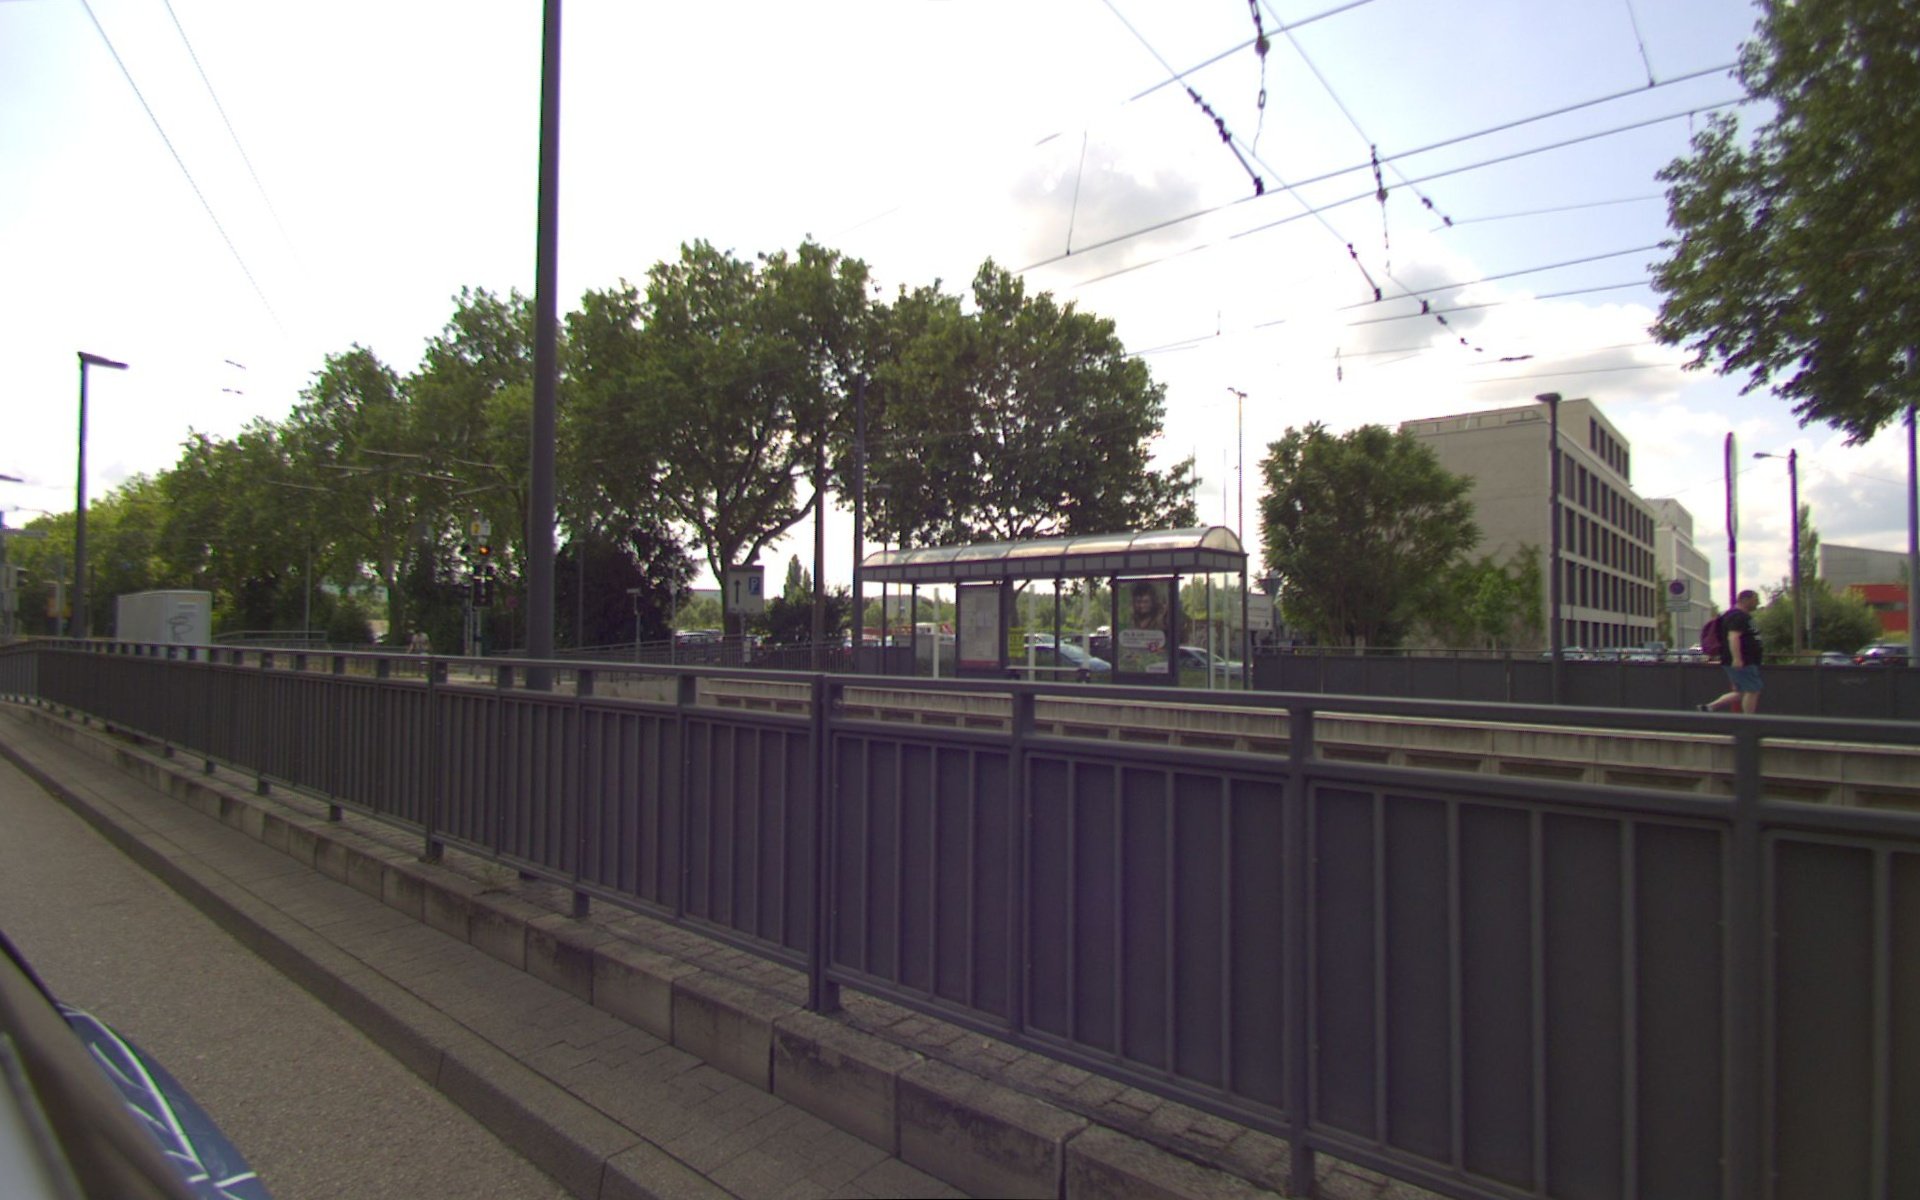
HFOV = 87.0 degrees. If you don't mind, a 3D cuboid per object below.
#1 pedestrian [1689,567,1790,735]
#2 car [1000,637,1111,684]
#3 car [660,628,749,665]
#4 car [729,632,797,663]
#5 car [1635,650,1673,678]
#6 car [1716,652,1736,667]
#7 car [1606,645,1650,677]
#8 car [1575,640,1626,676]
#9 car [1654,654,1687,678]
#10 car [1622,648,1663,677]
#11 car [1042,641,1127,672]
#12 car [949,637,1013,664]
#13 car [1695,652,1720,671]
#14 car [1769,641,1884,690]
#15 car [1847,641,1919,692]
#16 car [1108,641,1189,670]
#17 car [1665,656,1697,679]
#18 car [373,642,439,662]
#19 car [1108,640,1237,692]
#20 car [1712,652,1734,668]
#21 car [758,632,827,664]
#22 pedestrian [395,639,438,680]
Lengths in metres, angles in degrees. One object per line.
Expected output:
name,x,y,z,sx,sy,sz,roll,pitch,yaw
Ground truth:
pedestrian,9.031,0.580,11.723,0.864,1.859,0.699,-2,-3,40
car,3.315,2.109,35.509,3.654,1.546,1.671,-3,-4,44
car,-13.391,2.461,53.222,1.999,1.845,4.053,-1,-5,42
car,-13.019,3.155,67.071,1.998,1.913,4.057,-1,-4,39
car,48.638,4.495,70.860,1.759,1.828,3.990,-1,-5,41
car,96.766,7.512,127.893,1.759,1.828,3.990,-1,-5,41
car,40.925,3.756,61.983,1.759,1.828,3.990,-1,-5,41
car,34.605,3.146,54.638,1.759,1.828,3.990,-1,-5,41
car,56.319,5.260,80.198,1.759,1.828,3.990,-1,-5,41
car,44.869,4.131,66.474,1.759,1.828,3.990,-1,-5,41
car,6.324,2.862,51.462,3.997,1.487,1.779,-2,-4,41
car,1.295,3.040,61.194,1.777,1.438,3.945,-2,0,42
car,77.054,6.367,104.316,1.759,1.828,3.990,-1,-5,41
car,38.341,2.901,44.786,4.362,2.029,2.006,3,-4,-21
car,39.553,2.783,42.190,4.362,2.029,2.006,3,-4,-21
car,10.612,3.114,57.131,4.104,1.494,1.860,-1,-4,41
car,60.036,5.604,84.257,1.759,1.828,3.990,-1,-5,41
car,-41.758,3.888,76.352,1.999,1.453,3.945,-2,-3,41
car,6.669,2.069,31.971,3.654,1.546,1.671,-3,-4,44
car,91.405,7.200,121.207,1.759,1.828,3.990,-1,-5,41
car,-10.736,3.113,65.248,1.998,1.913,4.057,-1,-4,39
pedestrian,-18.559,2.047,34.584,0.912,1.354,0.862,1,-3,8
